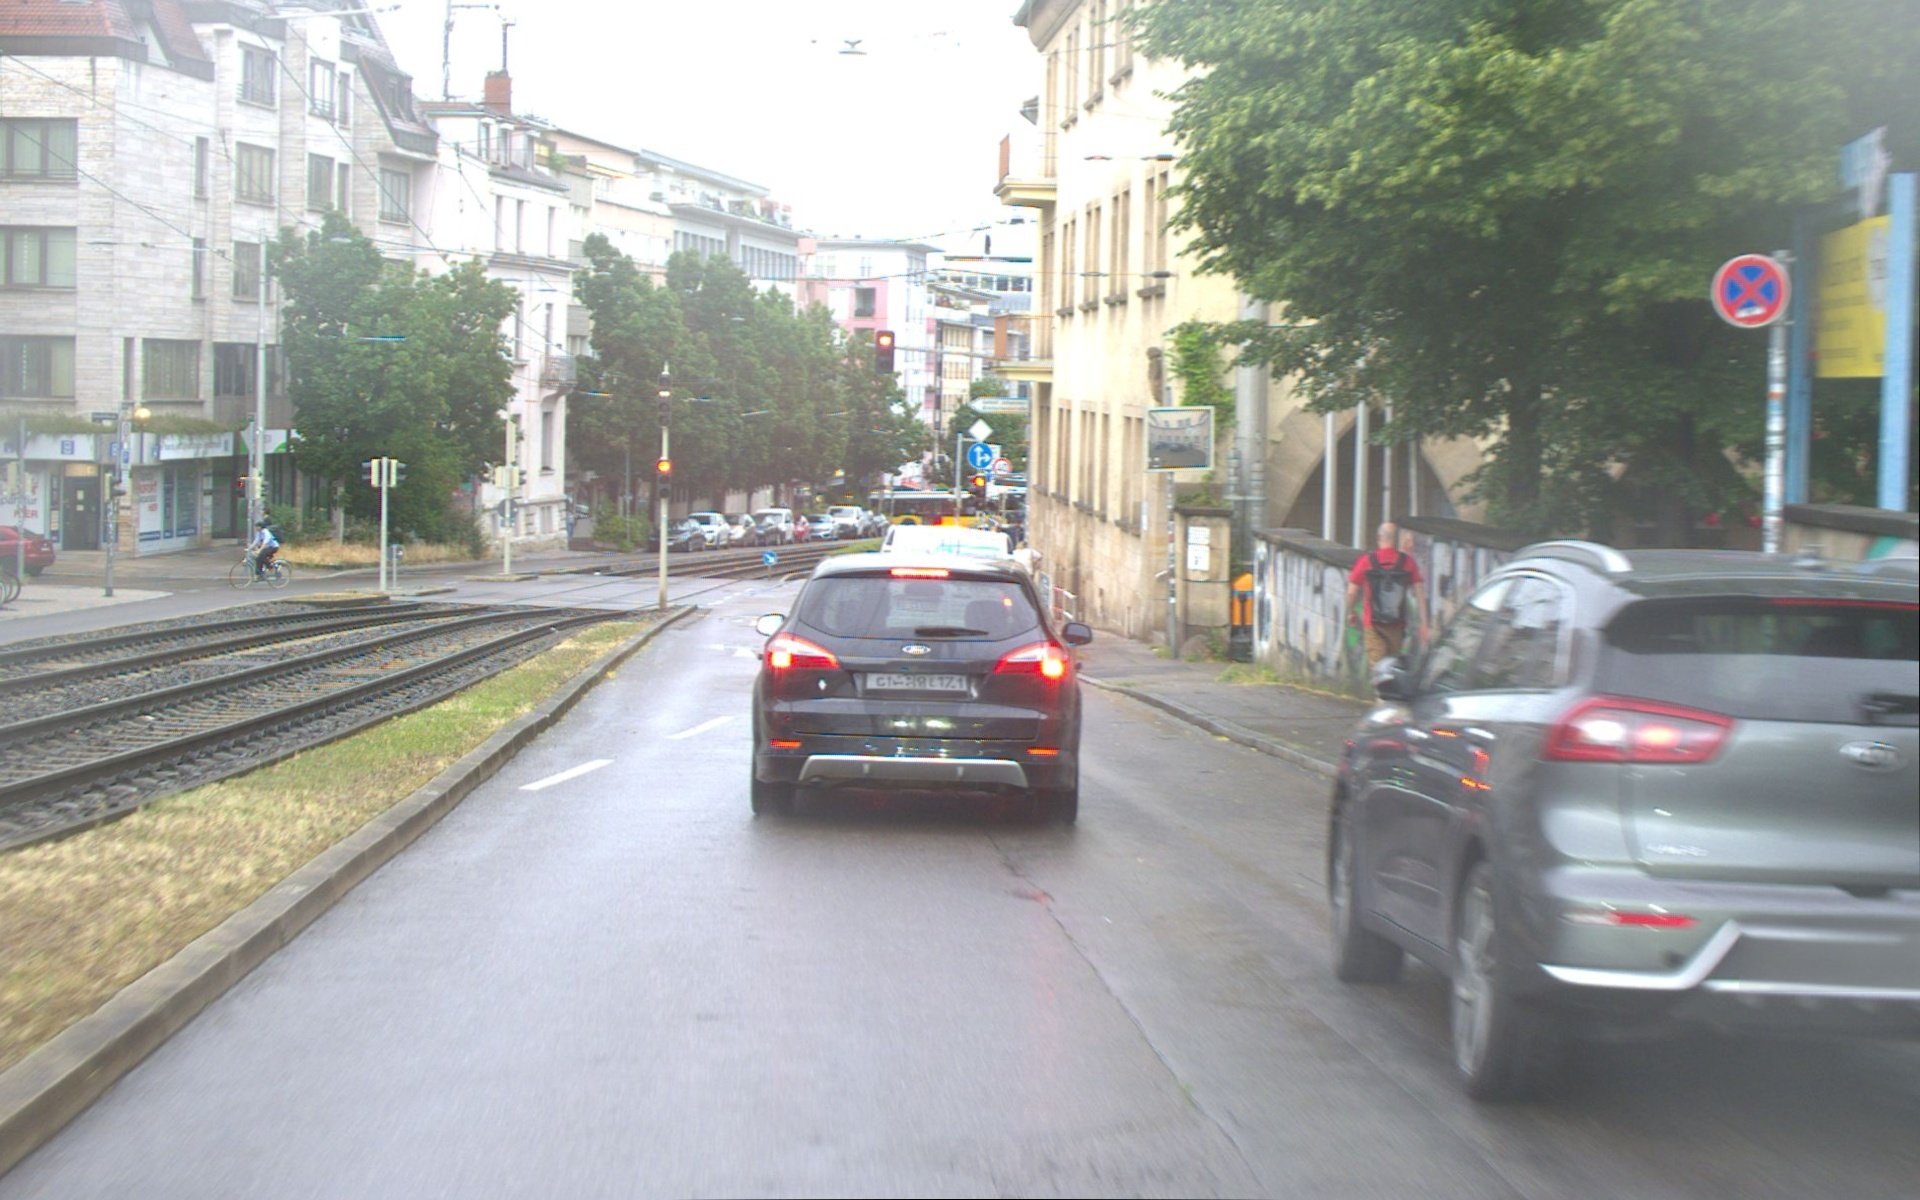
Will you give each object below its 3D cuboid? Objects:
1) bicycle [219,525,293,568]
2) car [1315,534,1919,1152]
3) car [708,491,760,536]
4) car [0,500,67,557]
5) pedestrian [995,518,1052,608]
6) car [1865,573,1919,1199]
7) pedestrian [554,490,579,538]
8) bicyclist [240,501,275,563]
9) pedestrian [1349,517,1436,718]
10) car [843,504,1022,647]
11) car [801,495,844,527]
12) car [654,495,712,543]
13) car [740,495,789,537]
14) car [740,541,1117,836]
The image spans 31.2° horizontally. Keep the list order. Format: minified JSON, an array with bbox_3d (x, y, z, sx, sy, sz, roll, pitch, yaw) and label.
[{"bbox_3d":[-17.949,-1.360,87.637,1.797,1.060,0.457,1,2,-38],"label":"bicycle"},{"bbox_3d":[2.142,0.570,10.656,1.665,1.519,4.109,0,1,0],"label":"car"},{"bbox_3d":[-10.490,-4.026,159.705,1.993,2.007,4.000,1,2,2],"label":"car"},{"bbox_3d":[-27.199,-2.021,95.678,4.134,1.563,1.823,1,1,6],"label":"car"},{"bbox_3d":[1.286,-0.760,69.925,1.045,1.789,0.902,1,1,-4],"label":"pedestrian"},{"bbox_3d":[2.677,0.728,4.647,1.665,1.471,4.109,0,1,-2],"label":"car"},{"bbox_3d":[-16.663,-3.622,145.446,0.941,2.007,0.765,1,1,-12],"label":"pedestrian"},{"bbox_3d":[-17.909,-1.733,87.651,0.700,1.568,0.462,1,1,-39],"label":"bicyclist"},{"bbox_3d":[3.747,0.141,29.817,0.632,1.715,0.711,0,1,-2],"label":"pedestrian"},{"bbox_3d":[-0.306,-0.363,44.930,2.137,1.739,4.218,0,2,2],"label":"car"},{"bbox_3d":[-7.321,-4.747,183.751,1.993,1.656,4.000,1,2,2],"label":"car"},{"bbox_3d":[-11.824,-3.472,147.065,1.993,2.007,4.000,1,2,2],"label":"car"},{"bbox_3d":[-9.691,-4.188,170.636,1.993,2.007,4.000,1,2,2],"label":"car"},{"bbox_3d":[-0.290,0.429,19.962,1.920,1.474,4.001,0,2,-4],"label":"car"}]
